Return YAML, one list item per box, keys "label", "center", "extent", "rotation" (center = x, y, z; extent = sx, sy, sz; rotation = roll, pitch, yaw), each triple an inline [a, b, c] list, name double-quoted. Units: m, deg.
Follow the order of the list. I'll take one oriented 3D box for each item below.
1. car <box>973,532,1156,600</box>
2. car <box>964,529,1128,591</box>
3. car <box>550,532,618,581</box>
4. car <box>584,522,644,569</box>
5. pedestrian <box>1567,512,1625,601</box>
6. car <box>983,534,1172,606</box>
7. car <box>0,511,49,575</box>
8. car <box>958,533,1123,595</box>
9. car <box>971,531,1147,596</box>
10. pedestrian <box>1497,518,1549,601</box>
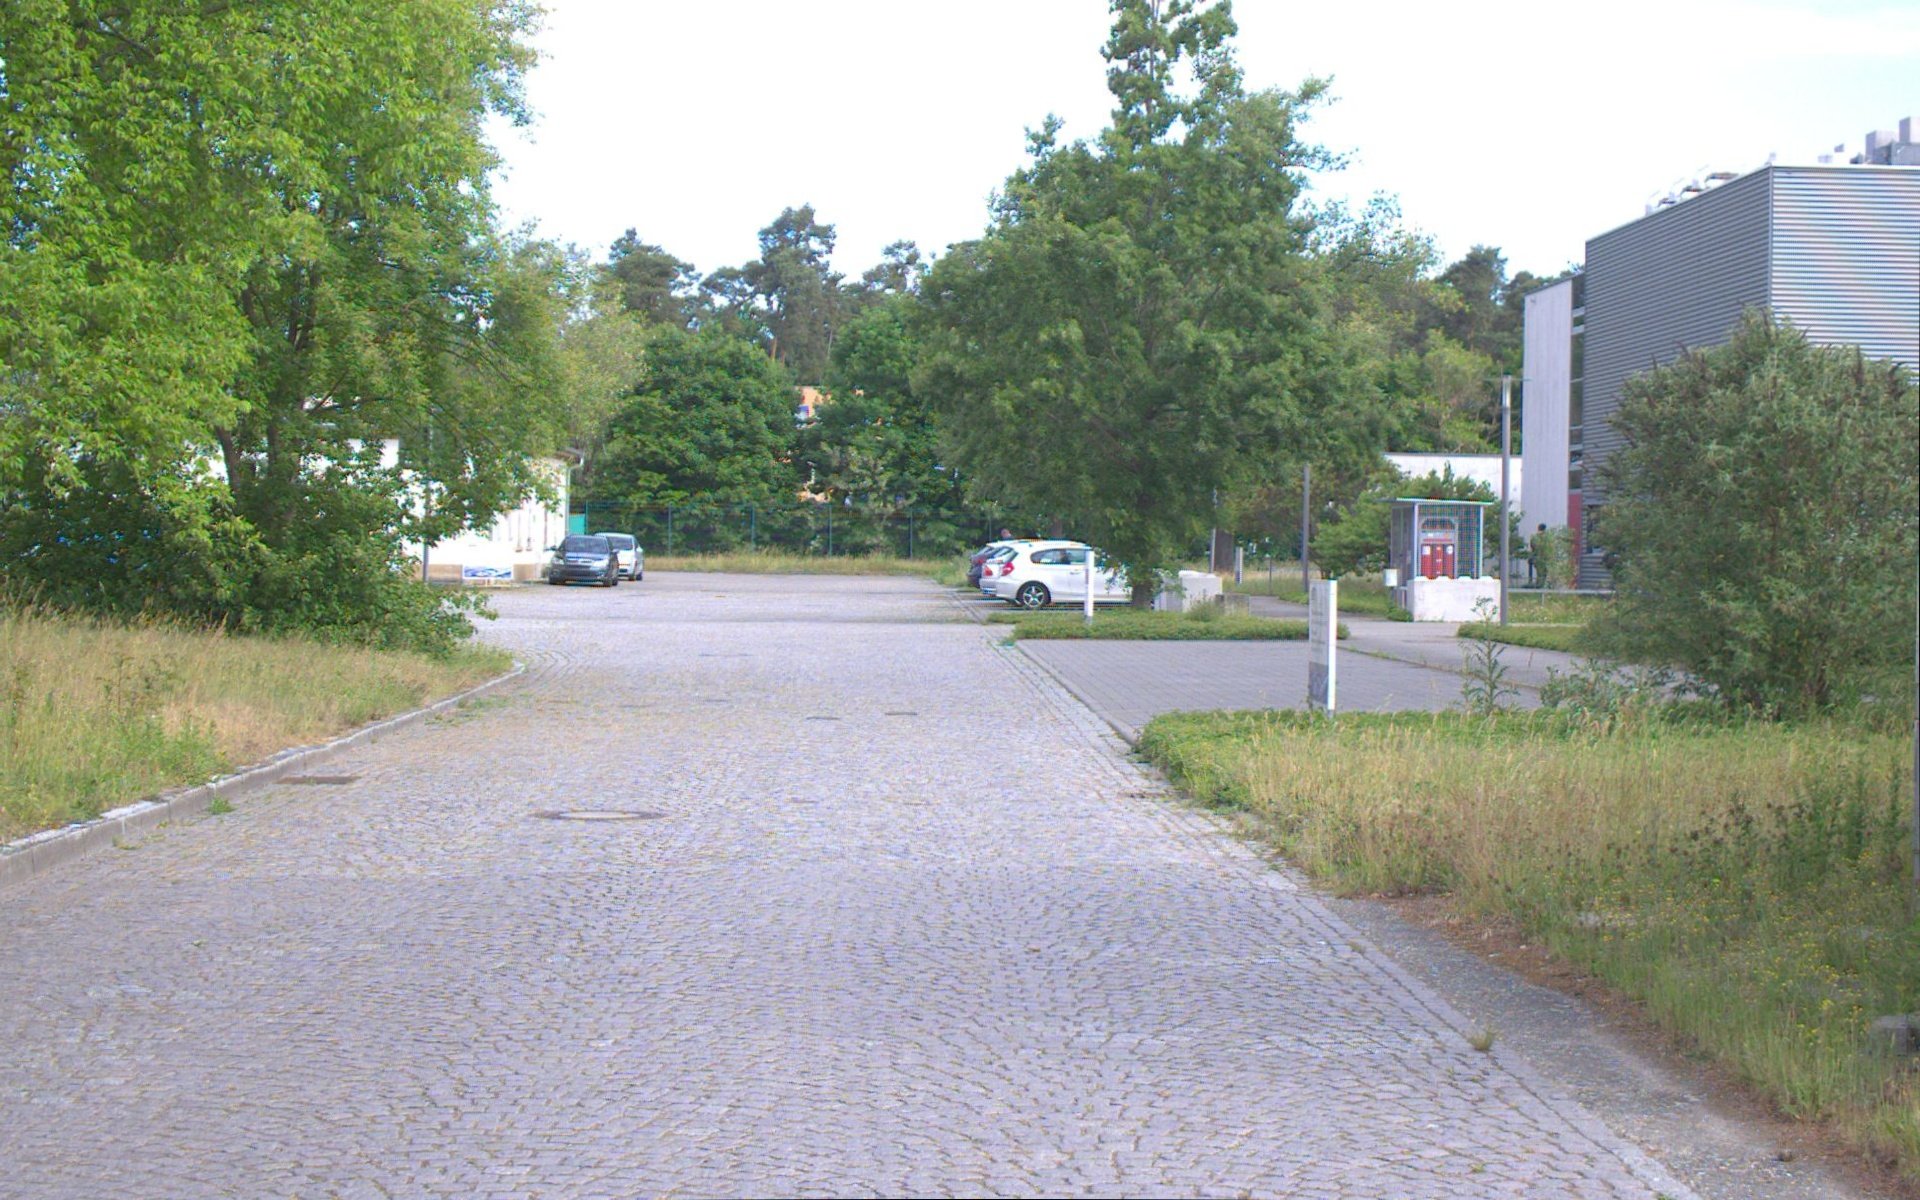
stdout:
- label: "car"
  center: [2.319, -0.780, 77.120]
  extent: [3.987, 1.450, 1.697]
  rotation: [1, 1, -1]
- label: "car"
  center: [2.198, -1.031, 88.278]
  extent: [3.986, 1.528, 2.000]
  rotation: [1, 1, -5]
- label: "car"
  center: [-10.776, -1.268, 98.654]
  extent: [1.748, 1.359, 4.001]
  rotation: [1, 1, -4]
- label: "car"
  center: [-10.952, -1.734, 108.879]
  extent: [1.748, 1.449, 4.001]
  rotation: [1, 1, -4]
- label: "pedestrian"
  center: [13.993, -0.957, 75.663]
  extent: [0.854, 1.930, 0.917]
  rotation: [2, 1, 42]
- label: "car"
  center: [2.541, -0.654, 74.957]
  extent: [3.987, 1.450, 2.000]
  rotation: [2, 0, -1]
- label: "car"
  center: [-24.148, -1.437, 85.501]
  extent: [1.900, 1.569, 4.000]
  rotation: [1, 1, 0]
- label: "car"
  center: [1.965, -0.900, 85.059]
  extent: [3.987, 1.450, 1.770]
  rotation: [1, 1, -1]
- label: "car"
  center: [2.289, -0.863, 80.160]
  extent: [3.987, 1.450, 1.770]
  rotation: [1, 1, -1]
- label: "pedestrian"
  center: [13.714, -0.994, 83.814]
  extent: [0.920, 2.007, 1.147]
  rotation: [1, 1, -7]
